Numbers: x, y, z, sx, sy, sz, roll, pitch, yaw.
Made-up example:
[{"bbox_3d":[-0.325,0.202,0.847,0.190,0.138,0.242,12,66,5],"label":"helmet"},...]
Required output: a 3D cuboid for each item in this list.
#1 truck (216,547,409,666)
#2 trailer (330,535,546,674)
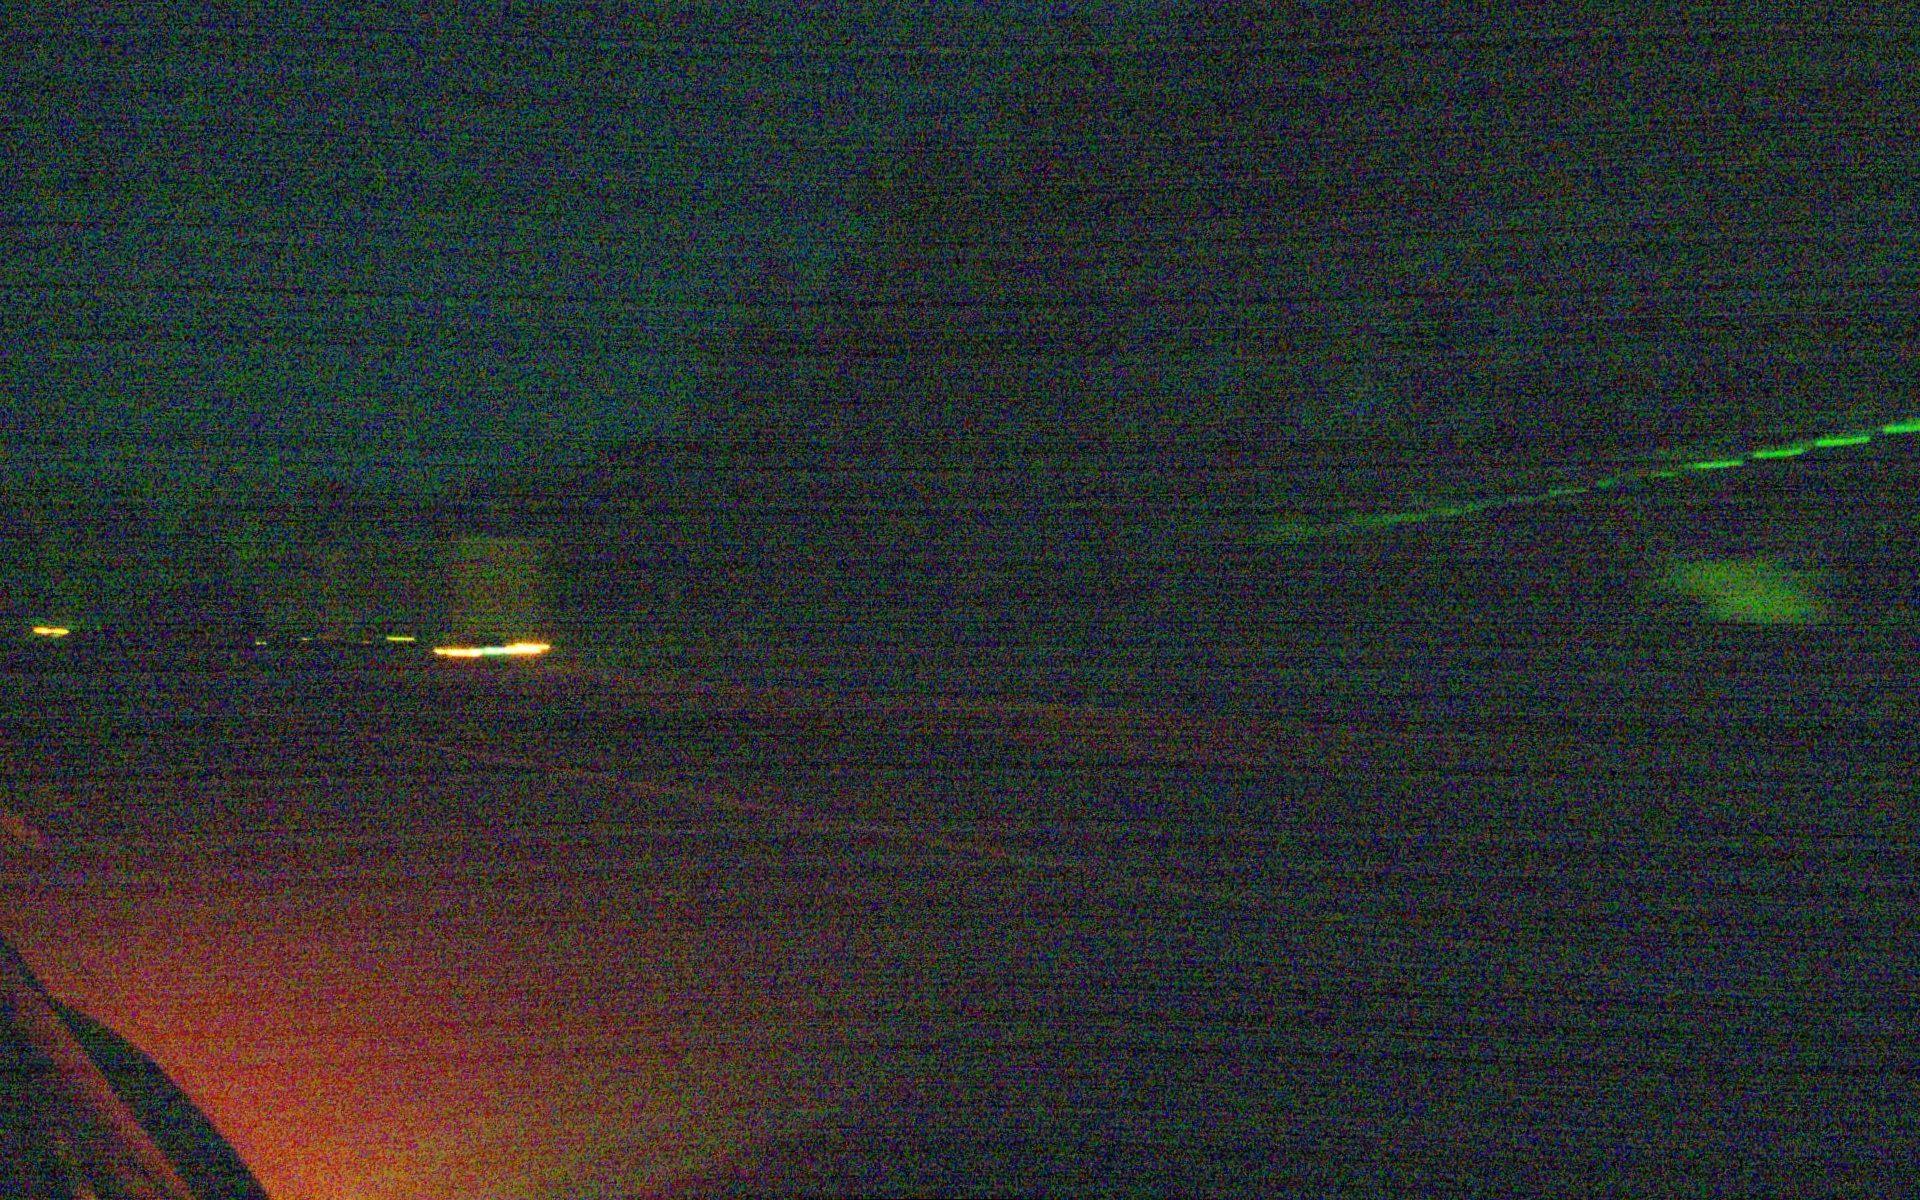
[{"bbox_3d":[-25.110,0.341,38.944,10.634,4.075,2.656,-1,-2,37],"label":"truck"},{"bbox_3d":[-17.193,0.227,32.985,9.033,3.987,2.692,-1,-2,38],"label":"trailer"}]
